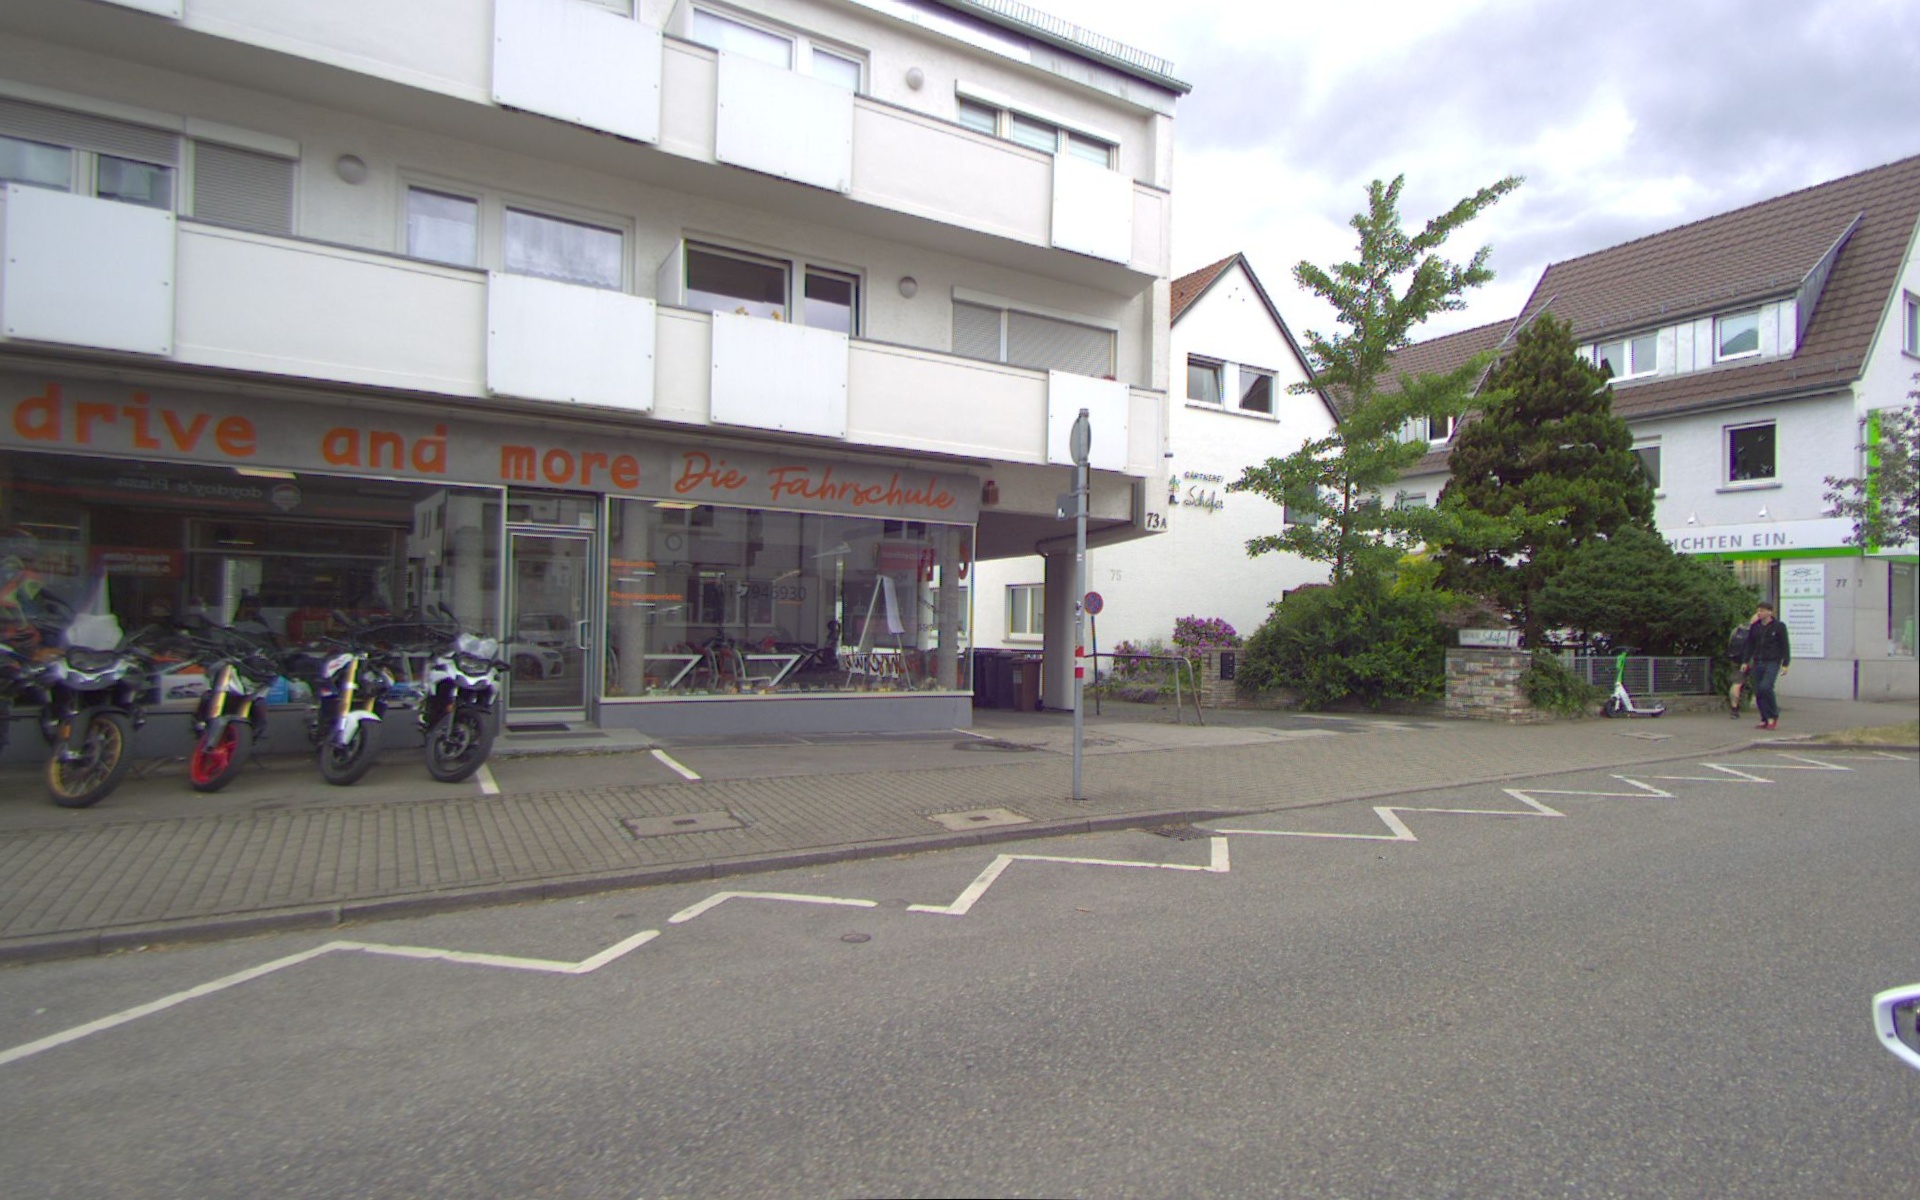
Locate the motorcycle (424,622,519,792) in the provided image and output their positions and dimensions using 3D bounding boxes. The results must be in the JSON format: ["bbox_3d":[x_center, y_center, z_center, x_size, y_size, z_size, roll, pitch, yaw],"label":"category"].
[{"bbox_3d":[-4.520,0.892,9.218,0.606,1.282,2.214,1,1,-30],"label":"motorcycle"}]

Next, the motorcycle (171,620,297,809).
[{"bbox_3d":[-6.000,0.855,8.400,0.606,1.282,2.214,1,1,-30],"label":"motorcycle"}]

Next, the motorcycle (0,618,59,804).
[{"bbox_3d":[-7.358,0.818,7.403,0.606,1.282,2.214,1,1,-30],"label":"motorcycle"}]

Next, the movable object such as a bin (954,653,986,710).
[{"bbox_3d":[0.188,1.545,19.179,0.436,1.071,0.486,1,-3,-29],"label":"movable object such as a bin"}]

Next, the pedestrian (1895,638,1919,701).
[{"bbox_3d":[20.396,1.470,21.345,0.647,1.297,0.597,1,0,-29],"label":"pedestrian"}]

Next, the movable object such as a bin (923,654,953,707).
[{"bbox_3d":[-0.445,1.639,20.591,0.436,1.071,0.486,1,-3,-29],"label":"movable object such as a bin"}]

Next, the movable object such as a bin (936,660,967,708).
[{"bbox_3d":[-0.178,1.675,20.078,0.436,0.924,0.486,1,-3,-29],"label":"movable object such as a bin"}]

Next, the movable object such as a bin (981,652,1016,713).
[{"bbox_3d":[0.694,1.490,18.262,0.436,1.071,0.486,1,-3,-29],"label":"movable object such as a bin"}]

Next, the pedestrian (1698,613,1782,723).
[{"bbox_3d":[13.173,1.126,16.971,1.007,1.767,0.748,1,1,-29],"label":"pedestrian"}]

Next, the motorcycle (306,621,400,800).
[{"bbox_3d":[-5.298,0.873,8.825,0.606,1.282,2.214,1,1,-30],"label":"motorcycle"}]

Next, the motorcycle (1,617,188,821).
[{"bbox_3d":[-6.682,0.823,7.877,0.691,1.282,2.214,1,1,-30],"label":"motorcycle"}]

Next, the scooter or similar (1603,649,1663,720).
[{"bbox_3d":[11.093,1.376,16.542,1.166,1.126,0.338,1,-1,-30],"label":"scooter or similar"}]

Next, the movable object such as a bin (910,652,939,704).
[{"bbox_3d":[-0.754,1.633,21.175,0.436,1.071,0.486,1,-3,-29],"label":"movable object such as a bin"}]

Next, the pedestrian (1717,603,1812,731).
[{"bbox_3d":[12.372,1.005,15.452,1.007,1.874,0.748,1,2,-29],"label":"pedestrian"}]

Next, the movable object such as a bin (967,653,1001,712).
[{"bbox_3d":[0.451,1.529,18.723,0.436,1.071,0.486,1,-3,-29],"label":"movable object such as a bin"}]

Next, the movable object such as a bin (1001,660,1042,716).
[{"bbox_3d":[1.086,1.536,17.670,0.465,0.945,0.597,1,-3,-29],"label":"movable object such as a bin"}]
